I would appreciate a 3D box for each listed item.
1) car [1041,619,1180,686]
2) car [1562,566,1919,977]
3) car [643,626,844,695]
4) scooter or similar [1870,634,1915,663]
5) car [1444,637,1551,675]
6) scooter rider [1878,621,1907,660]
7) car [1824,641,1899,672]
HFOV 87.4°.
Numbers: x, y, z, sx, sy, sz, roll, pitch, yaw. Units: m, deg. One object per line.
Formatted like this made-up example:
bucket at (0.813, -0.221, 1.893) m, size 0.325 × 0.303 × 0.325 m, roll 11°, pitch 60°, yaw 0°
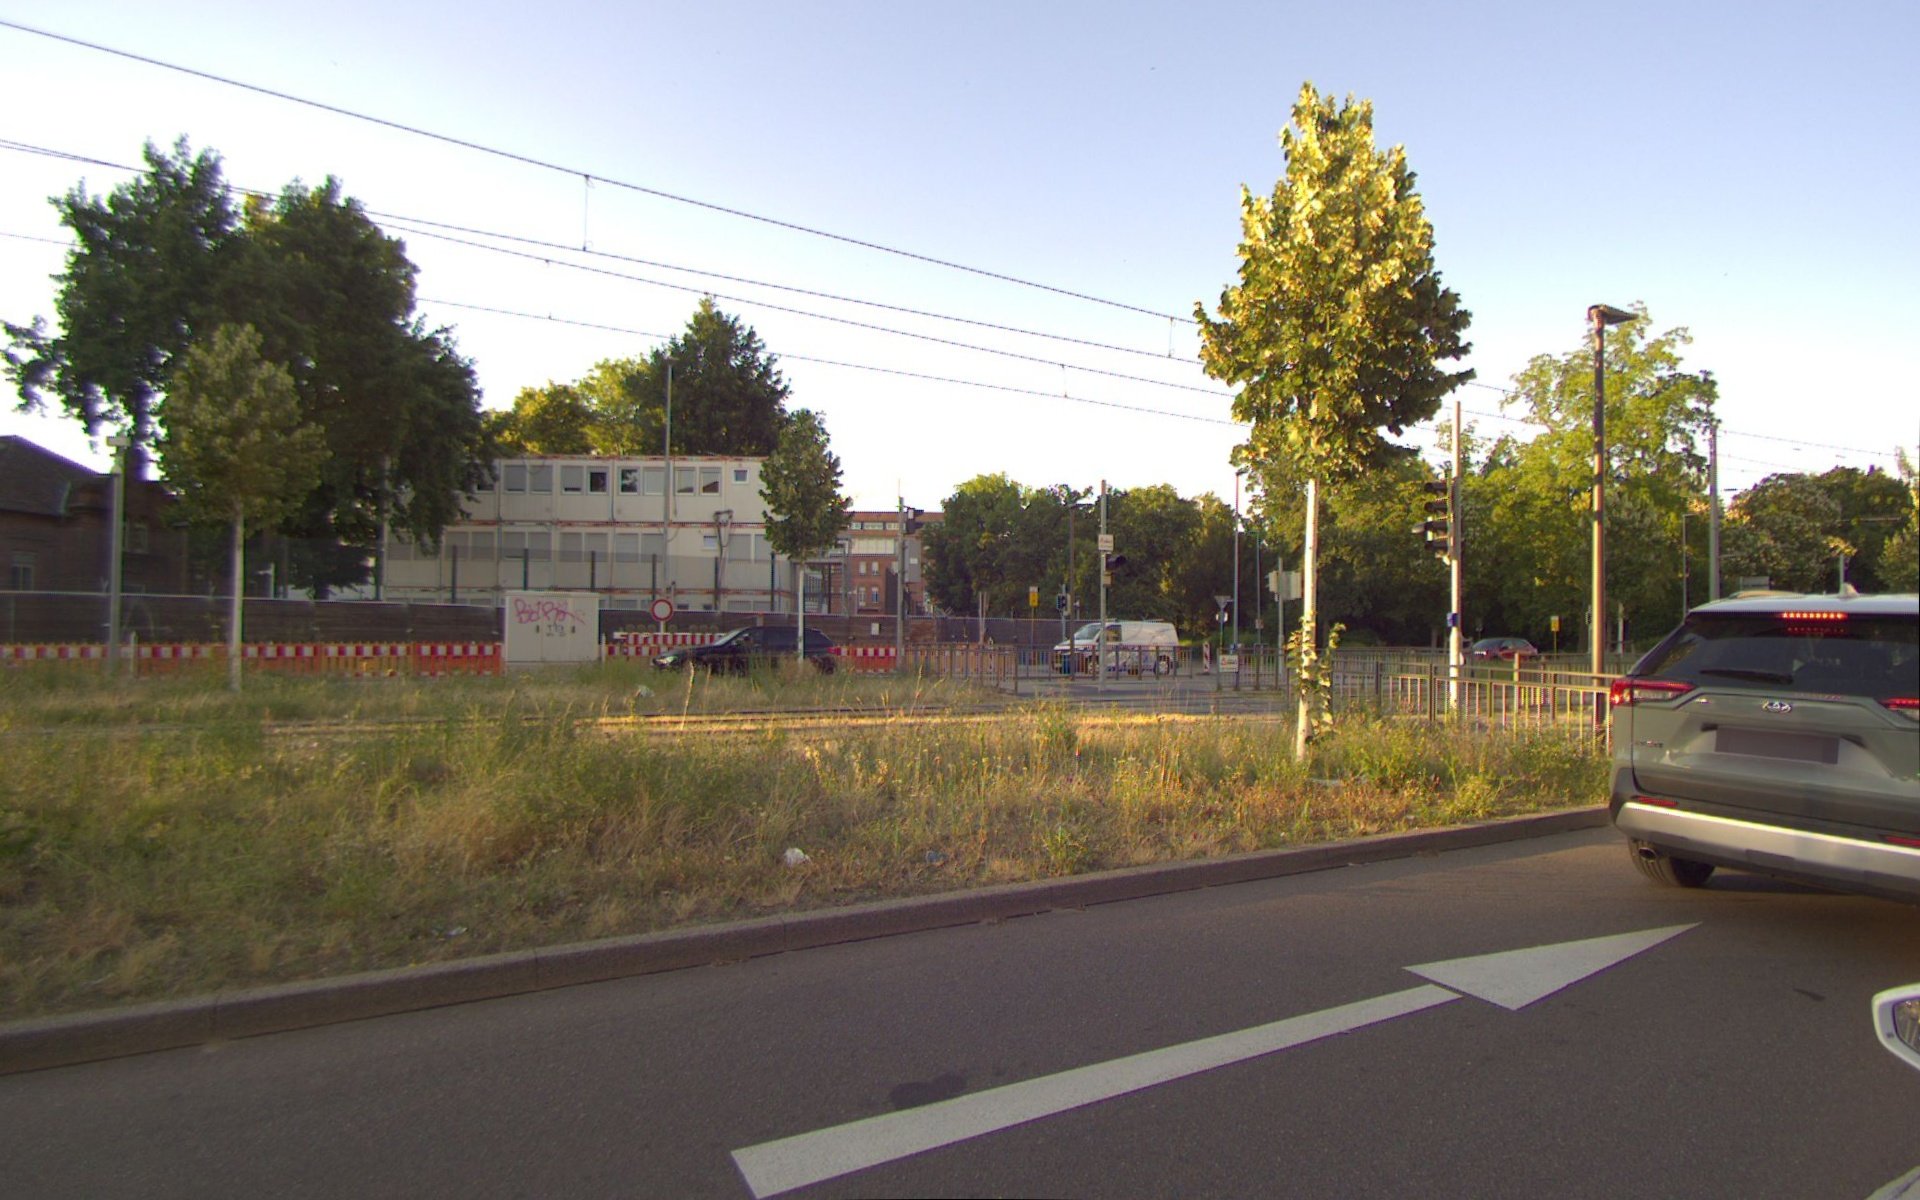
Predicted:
car at (5.400, 1.799, 35.905) m, size 4.690 × 2.197 × 1.986 m, roll 0°, pitch 0°, yaw -28°
car at (5.459, 0.710, 5.651) m, size 4.220 × 1.681 × 1.845 m, roll 0°, pitch 0°, yaw -32°
car at (-5.305, 1.421, 24.700) m, size 4.466 × 1.501 × 1.985 m, roll 0°, pitch 0°, yaw -28°
scooter or similar at (37.353, 1.936, 40.240) m, size 0.510 × 1.168 × 1.316 m, roll 2°, pitch -2°, yaw -45°
car at (24.034, 2.486, 44.928) m, size 4.461 × 1.501 × 1.987 m, roll 0°, pitch 0°, yaw -26°
scooter rider at (37.383, 1.628, 40.267) m, size 0.812 × 1.534 × 0.649 m, roll -1°, pitch -2°, yaw 45°
car at (46.662, 2.900, 51.977) m, size 3.737 × 1.501 × 1.792 m, roll 1°, pitch -2°, yaw -29°
